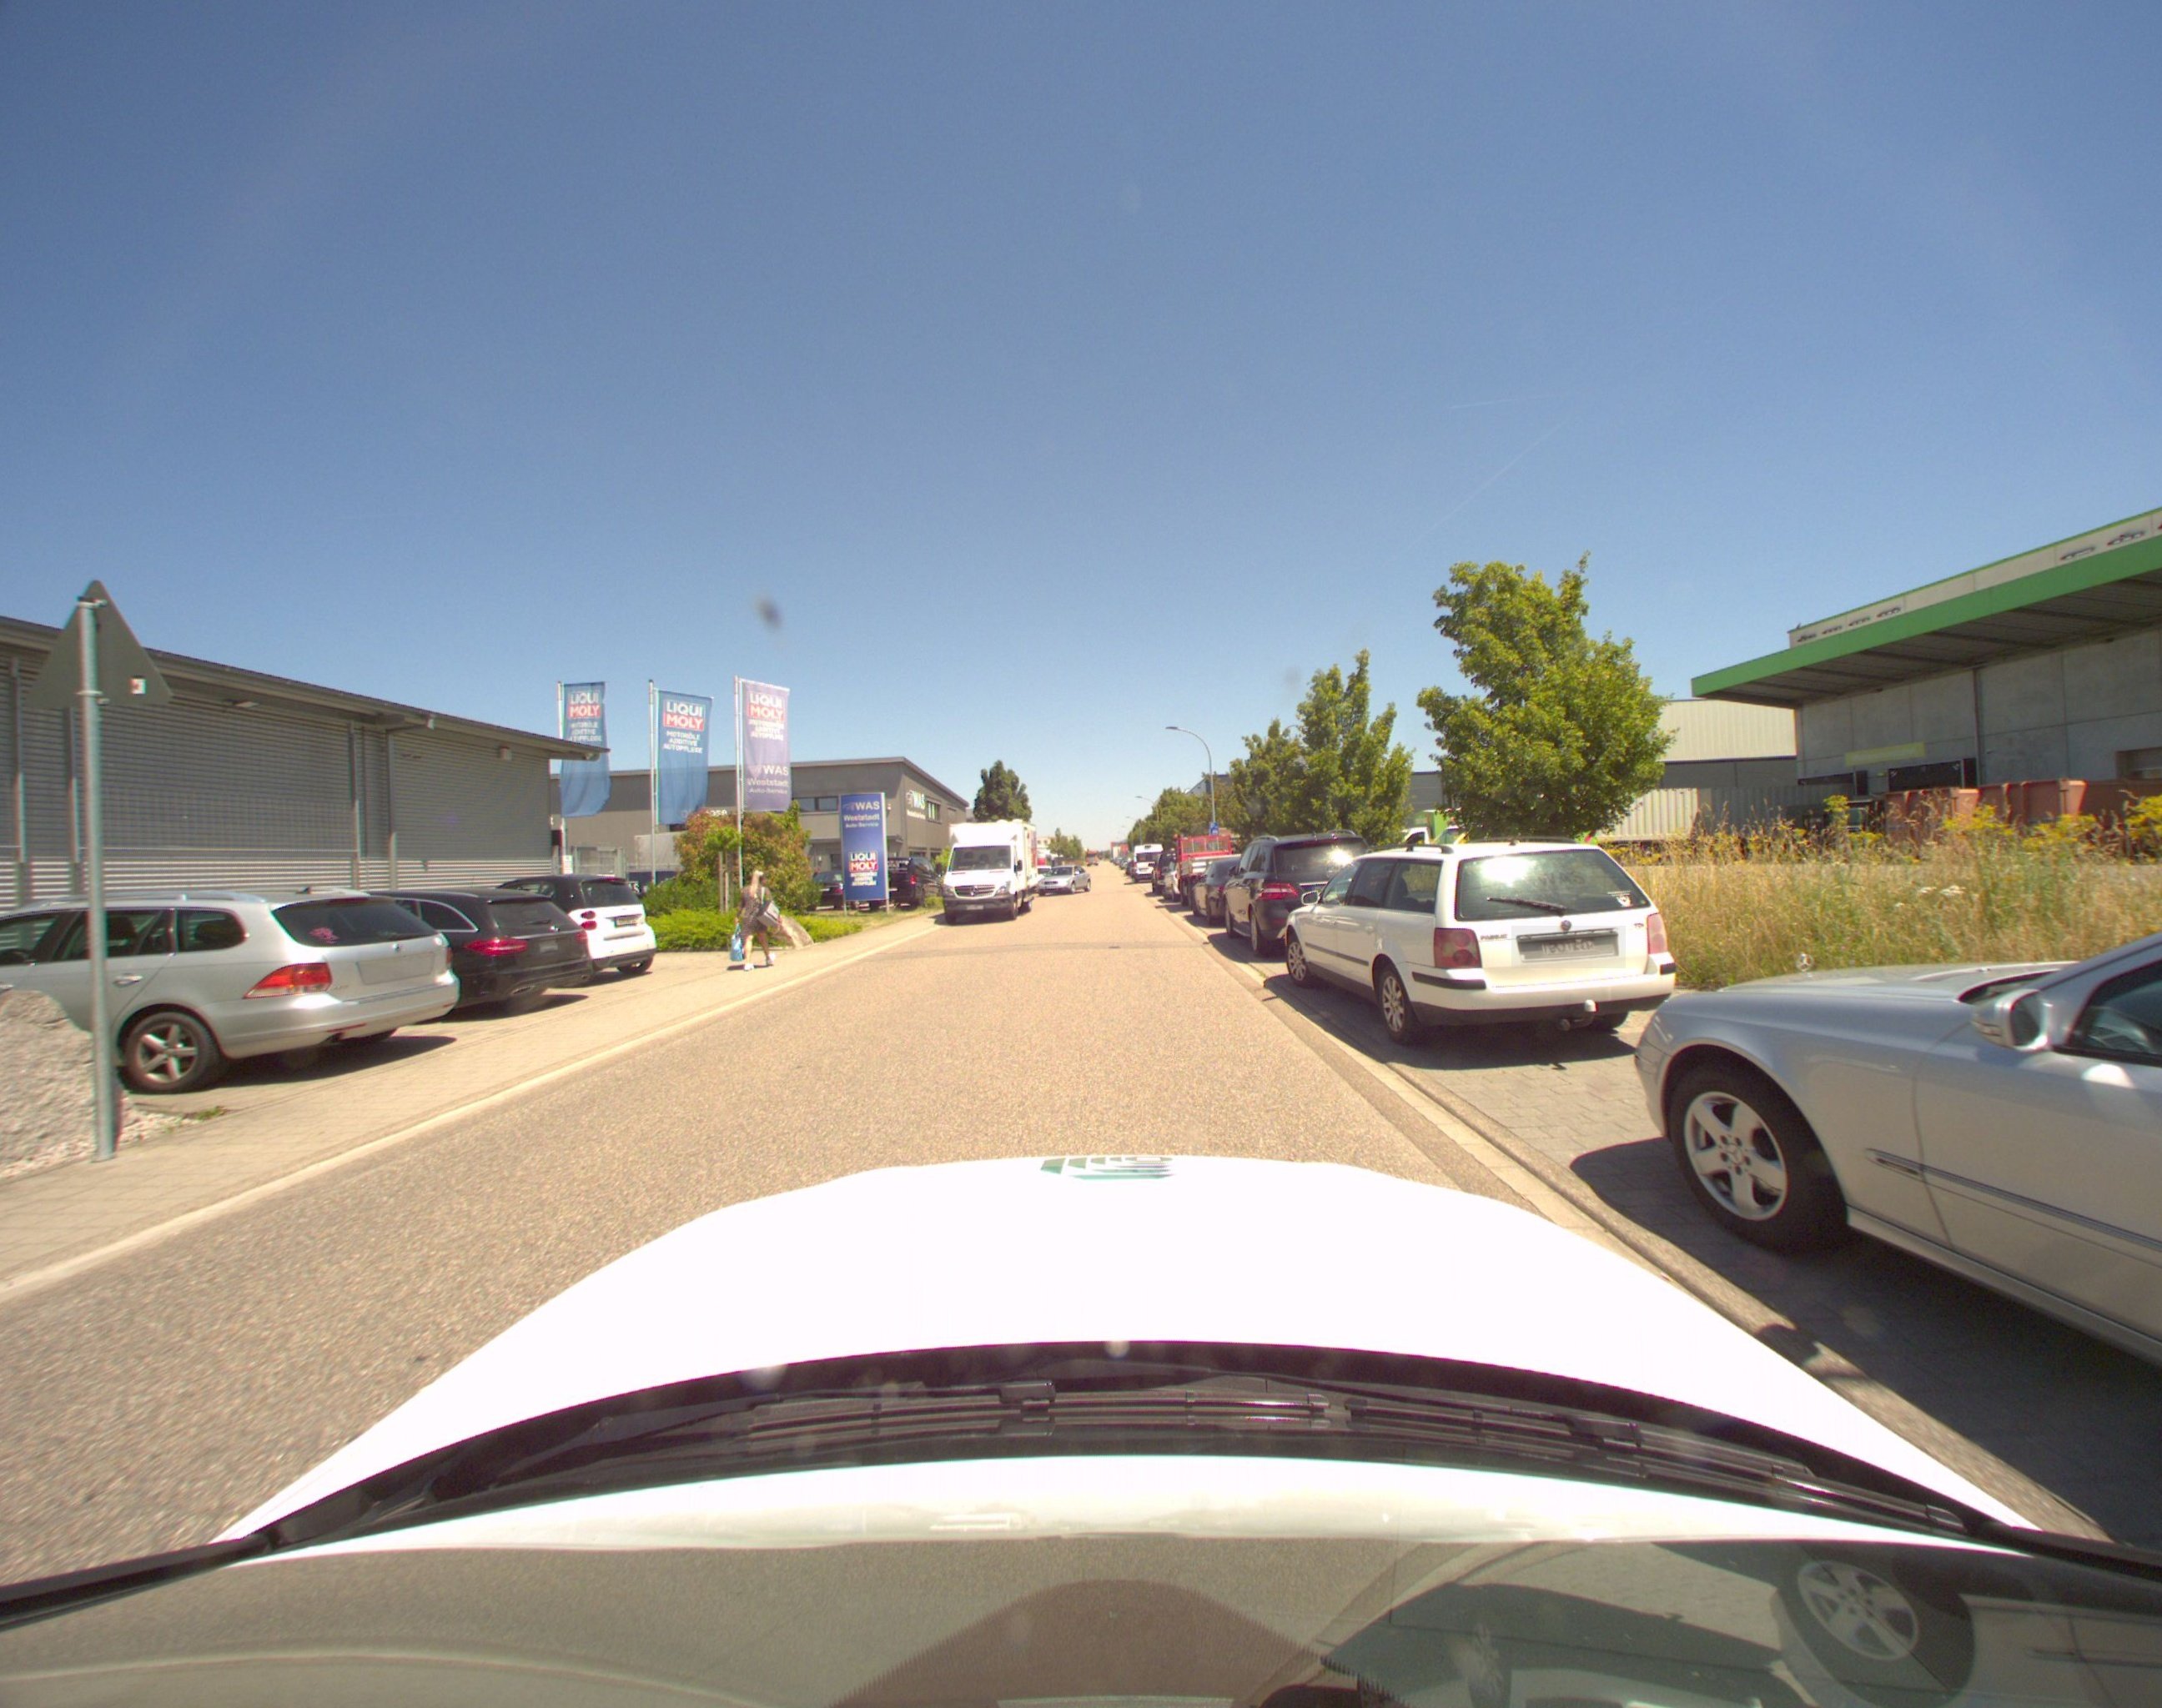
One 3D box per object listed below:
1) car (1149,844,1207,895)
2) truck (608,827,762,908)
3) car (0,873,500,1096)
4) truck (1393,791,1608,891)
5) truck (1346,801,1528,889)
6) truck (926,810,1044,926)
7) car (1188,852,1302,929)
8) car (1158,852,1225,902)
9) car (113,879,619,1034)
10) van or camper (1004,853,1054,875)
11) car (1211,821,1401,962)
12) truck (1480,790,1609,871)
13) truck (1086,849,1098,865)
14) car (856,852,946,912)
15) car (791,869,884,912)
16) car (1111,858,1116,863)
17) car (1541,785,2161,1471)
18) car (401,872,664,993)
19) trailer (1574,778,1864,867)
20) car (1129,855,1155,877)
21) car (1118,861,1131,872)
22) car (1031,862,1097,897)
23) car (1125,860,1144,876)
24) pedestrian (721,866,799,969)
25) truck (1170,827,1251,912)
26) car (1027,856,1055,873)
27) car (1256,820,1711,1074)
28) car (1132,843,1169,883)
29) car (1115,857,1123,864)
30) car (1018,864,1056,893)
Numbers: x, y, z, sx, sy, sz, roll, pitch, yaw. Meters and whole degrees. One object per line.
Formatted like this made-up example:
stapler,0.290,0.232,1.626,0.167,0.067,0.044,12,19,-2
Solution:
car,4.088,0.643,35.110,1.986,1.884,5.158,-4,-1,2
truck,-18.993,0.667,38.889,7.960,3.557,2.603,-2,-1,30
car,-7.768,1.020,6.921,4.248,1.518,1.866,-2,-1,0
truck,13.799,-0.415,27.068,5.886,2.872,2.305,-3,-1,-2
truck,13.508,-0.323,31.206,5.801,2.913,2.415,-3,-1,0
truck,-2.670,0.415,24.565,2.352,2.860,6.418,-5,-1,2
car,3.545,0.741,18.448,1.691,1.383,4.839,-5,-1,2
car,3.832,0.774,28.856,1.733,1.530,3.999,-4,-1,0
car,-8.074,1.109,9.494,4.291,1.431,1.848,-2,-1,2
van or camper,-7.879,1.532,124.655,7.359,3.037,2.790,-3,-1,0
car,3.351,0.496,13.133,1.804,1.725,4.776,-4,0,2
truck,24.171,-1.181,42.680,5.043,3.875,2.805,-3,-2,2
truck,2.505,0.611,186.860,2.439,3.513,8.275,-4,0,2
car,-6.574,0.981,30.368,1.986,1.956,5.219,-2,-1,1
car,-9.100,1.322,30.875,1.924,1.416,4.770,-1,-1,2
car,9.296,1.899,234.193,1.490,1.409,3.501,-3,0,1
car,3.212,0.541,1.564,1.800,1.483,4.771,-4,0,-1
car,-7.856,1.083,11.846,2.732,1.518,1.535,-2,-1,0
trailer,32.955,-1.574,42.462,12.571,3.875,2.805,-3,-2,1
car,5.431,1.074,73.223,1.986,1.825,4.355,-3,-1,1
car,6.530,1.884,122.331,1.712,1.450,3.647,-3,-1,1
car,-0.779,1.216,40.396,1.769,1.422,4.434,-5,-1,18
car,5.659,1.428,85.542,1.700,1.504,4.714,-3,-1,7
pedestrian,-5.085,0.982,12.935,0.895,1.574,0.786,-1,0,2
truck,3.759,0.443,24.401,1.673,2.181,4.391,-4,-1,1
car,-6.853,1.788,140.979,4.703,2.586,1.998,-3,-1,-3
car,3.080,0.599,7.573,1.709,1.483,4.771,-4,0,-1
car,4.728,0.590,56.106,2.258,2.497,6.158,-3,-1,4
car,7.883,1.372,169.635,1.579,1.409,3.501,-3,0,1
car,-2.429,1.337,45.778,1.723,1.458,4.493,-2,-1,1
